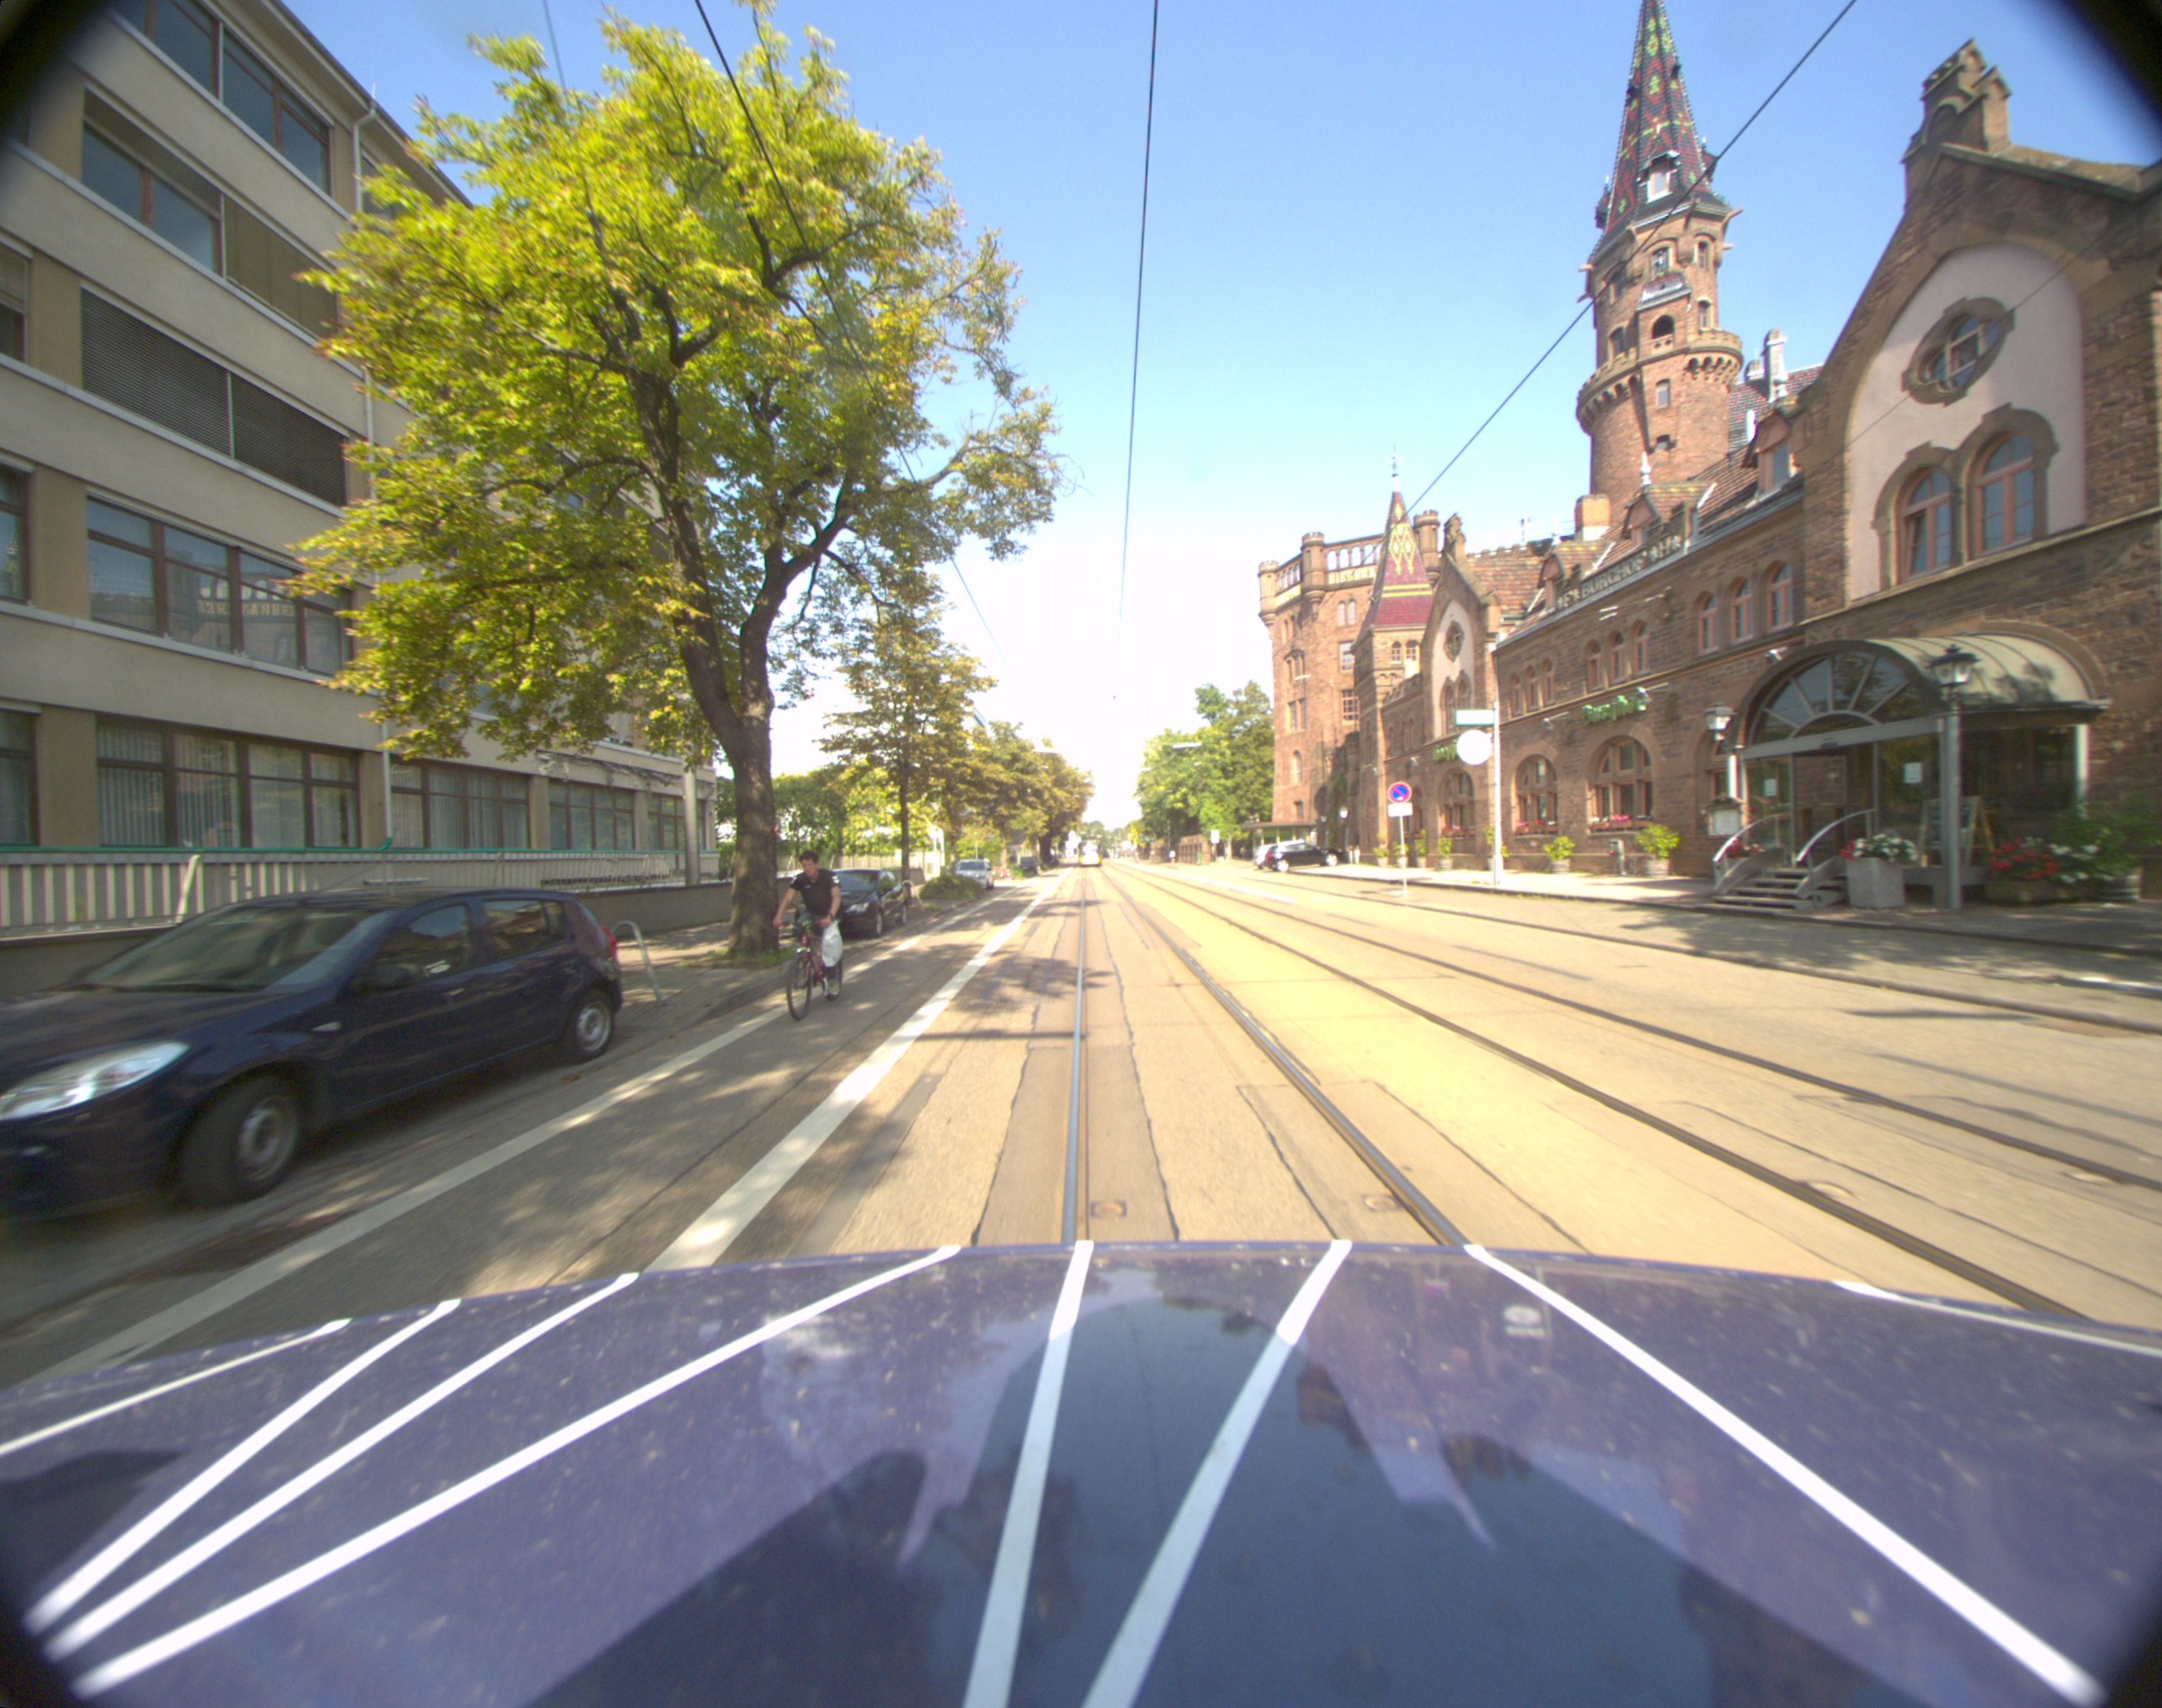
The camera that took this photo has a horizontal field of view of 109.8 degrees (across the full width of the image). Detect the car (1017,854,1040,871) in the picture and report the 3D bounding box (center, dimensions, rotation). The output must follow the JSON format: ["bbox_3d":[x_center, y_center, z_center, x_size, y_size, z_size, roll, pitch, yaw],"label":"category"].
[{"bbox_3d":[-4.534,0.718,65.777,1.745,1.477,4.437,0,0,-1],"label":"car"}]

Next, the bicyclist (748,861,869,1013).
[{"bbox_3d":[-2.851,0.830,8.062,0.789,1.461,1.116,-2,1,2],"label":"bicyclist"}]

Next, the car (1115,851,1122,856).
[{"bbox_3d":[10.819,-0.068,219.847,1.694,1.433,4.000,-2,0,0],"label":"car"}]

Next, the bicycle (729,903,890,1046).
[{"bbox_3d":[-2.826,1.202,8.245,0.789,1.138,2.305,-2,1,2],"label":"bicycle"}]

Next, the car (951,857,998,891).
[{"bbox_3d":[-4.888,0.893,35.337,1.644,1.421,3.988,-1,1,-1],"label":"car"}]

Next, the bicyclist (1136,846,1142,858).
[{"bbox_3d":[8.085,-0.316,106.295,0.699,1.572,1.087,-2,2,-2],"label":"bicyclist"}]

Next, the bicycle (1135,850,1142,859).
[{"bbox_3d":[8.088,0.117,106.320,0.699,1.151,2.037,-2,2,-2],"label":"bicycle"}]

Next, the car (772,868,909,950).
[{"bbox_3d":[-4.954,1.070,16.221,1.650,1.420,4.084,0,0,-1],"label":"car"}]

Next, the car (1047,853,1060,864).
[{"bbox_3d":[-4.210,0.648,117.959,1.866,1.643,4.183,0,0,-1],"label":"car"}]

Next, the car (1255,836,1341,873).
[{"bbox_3d":[12.692,0.023,44.617,4.407,1.636,1.957,-6,0,1],"label":"car"}]

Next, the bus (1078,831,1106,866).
[{"bbox_3d":[1.355,-0.680,87.876,2.900,3.771,9.319,-2,1,3],"label":"bus"}]

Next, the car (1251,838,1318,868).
[{"bbox_3d":[13.548,-0.069,50.683,3.908,1.586,1.823,-6,0,3],"label":"car"}]

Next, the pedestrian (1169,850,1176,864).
[{"bbox_3d":[10.719,0.341,89.164,0.717,1.580,0.775,-2,1,0],"label":"pedestrian"}]

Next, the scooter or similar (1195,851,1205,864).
[{"bbox_3d":[11.002,0.331,70.217,0.818,1.142,0.283,-6,3,-36],"label":"scooter or similar"}]

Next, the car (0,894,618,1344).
[{"bbox_3d":[-4.942,1.125,4.811,1.650,1.502,3.778,0,1,1],"label":"car"}]

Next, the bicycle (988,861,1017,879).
[{"bbox_3d":[-4.927,1.002,47.806,1.773,1.058,0.796,0,1,-2],"label":"bicycle"}]

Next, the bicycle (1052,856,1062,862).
[{"bbox_3d":[-4.030,0.797,128.897,1.621,1.009,0.382,-2,1,-3],"label":"bicycle"}]

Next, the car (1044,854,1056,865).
[{"bbox_3d":[-4.322,0.777,106.056,1.566,1.433,3.563,1,0,-2],"label":"car"}]
